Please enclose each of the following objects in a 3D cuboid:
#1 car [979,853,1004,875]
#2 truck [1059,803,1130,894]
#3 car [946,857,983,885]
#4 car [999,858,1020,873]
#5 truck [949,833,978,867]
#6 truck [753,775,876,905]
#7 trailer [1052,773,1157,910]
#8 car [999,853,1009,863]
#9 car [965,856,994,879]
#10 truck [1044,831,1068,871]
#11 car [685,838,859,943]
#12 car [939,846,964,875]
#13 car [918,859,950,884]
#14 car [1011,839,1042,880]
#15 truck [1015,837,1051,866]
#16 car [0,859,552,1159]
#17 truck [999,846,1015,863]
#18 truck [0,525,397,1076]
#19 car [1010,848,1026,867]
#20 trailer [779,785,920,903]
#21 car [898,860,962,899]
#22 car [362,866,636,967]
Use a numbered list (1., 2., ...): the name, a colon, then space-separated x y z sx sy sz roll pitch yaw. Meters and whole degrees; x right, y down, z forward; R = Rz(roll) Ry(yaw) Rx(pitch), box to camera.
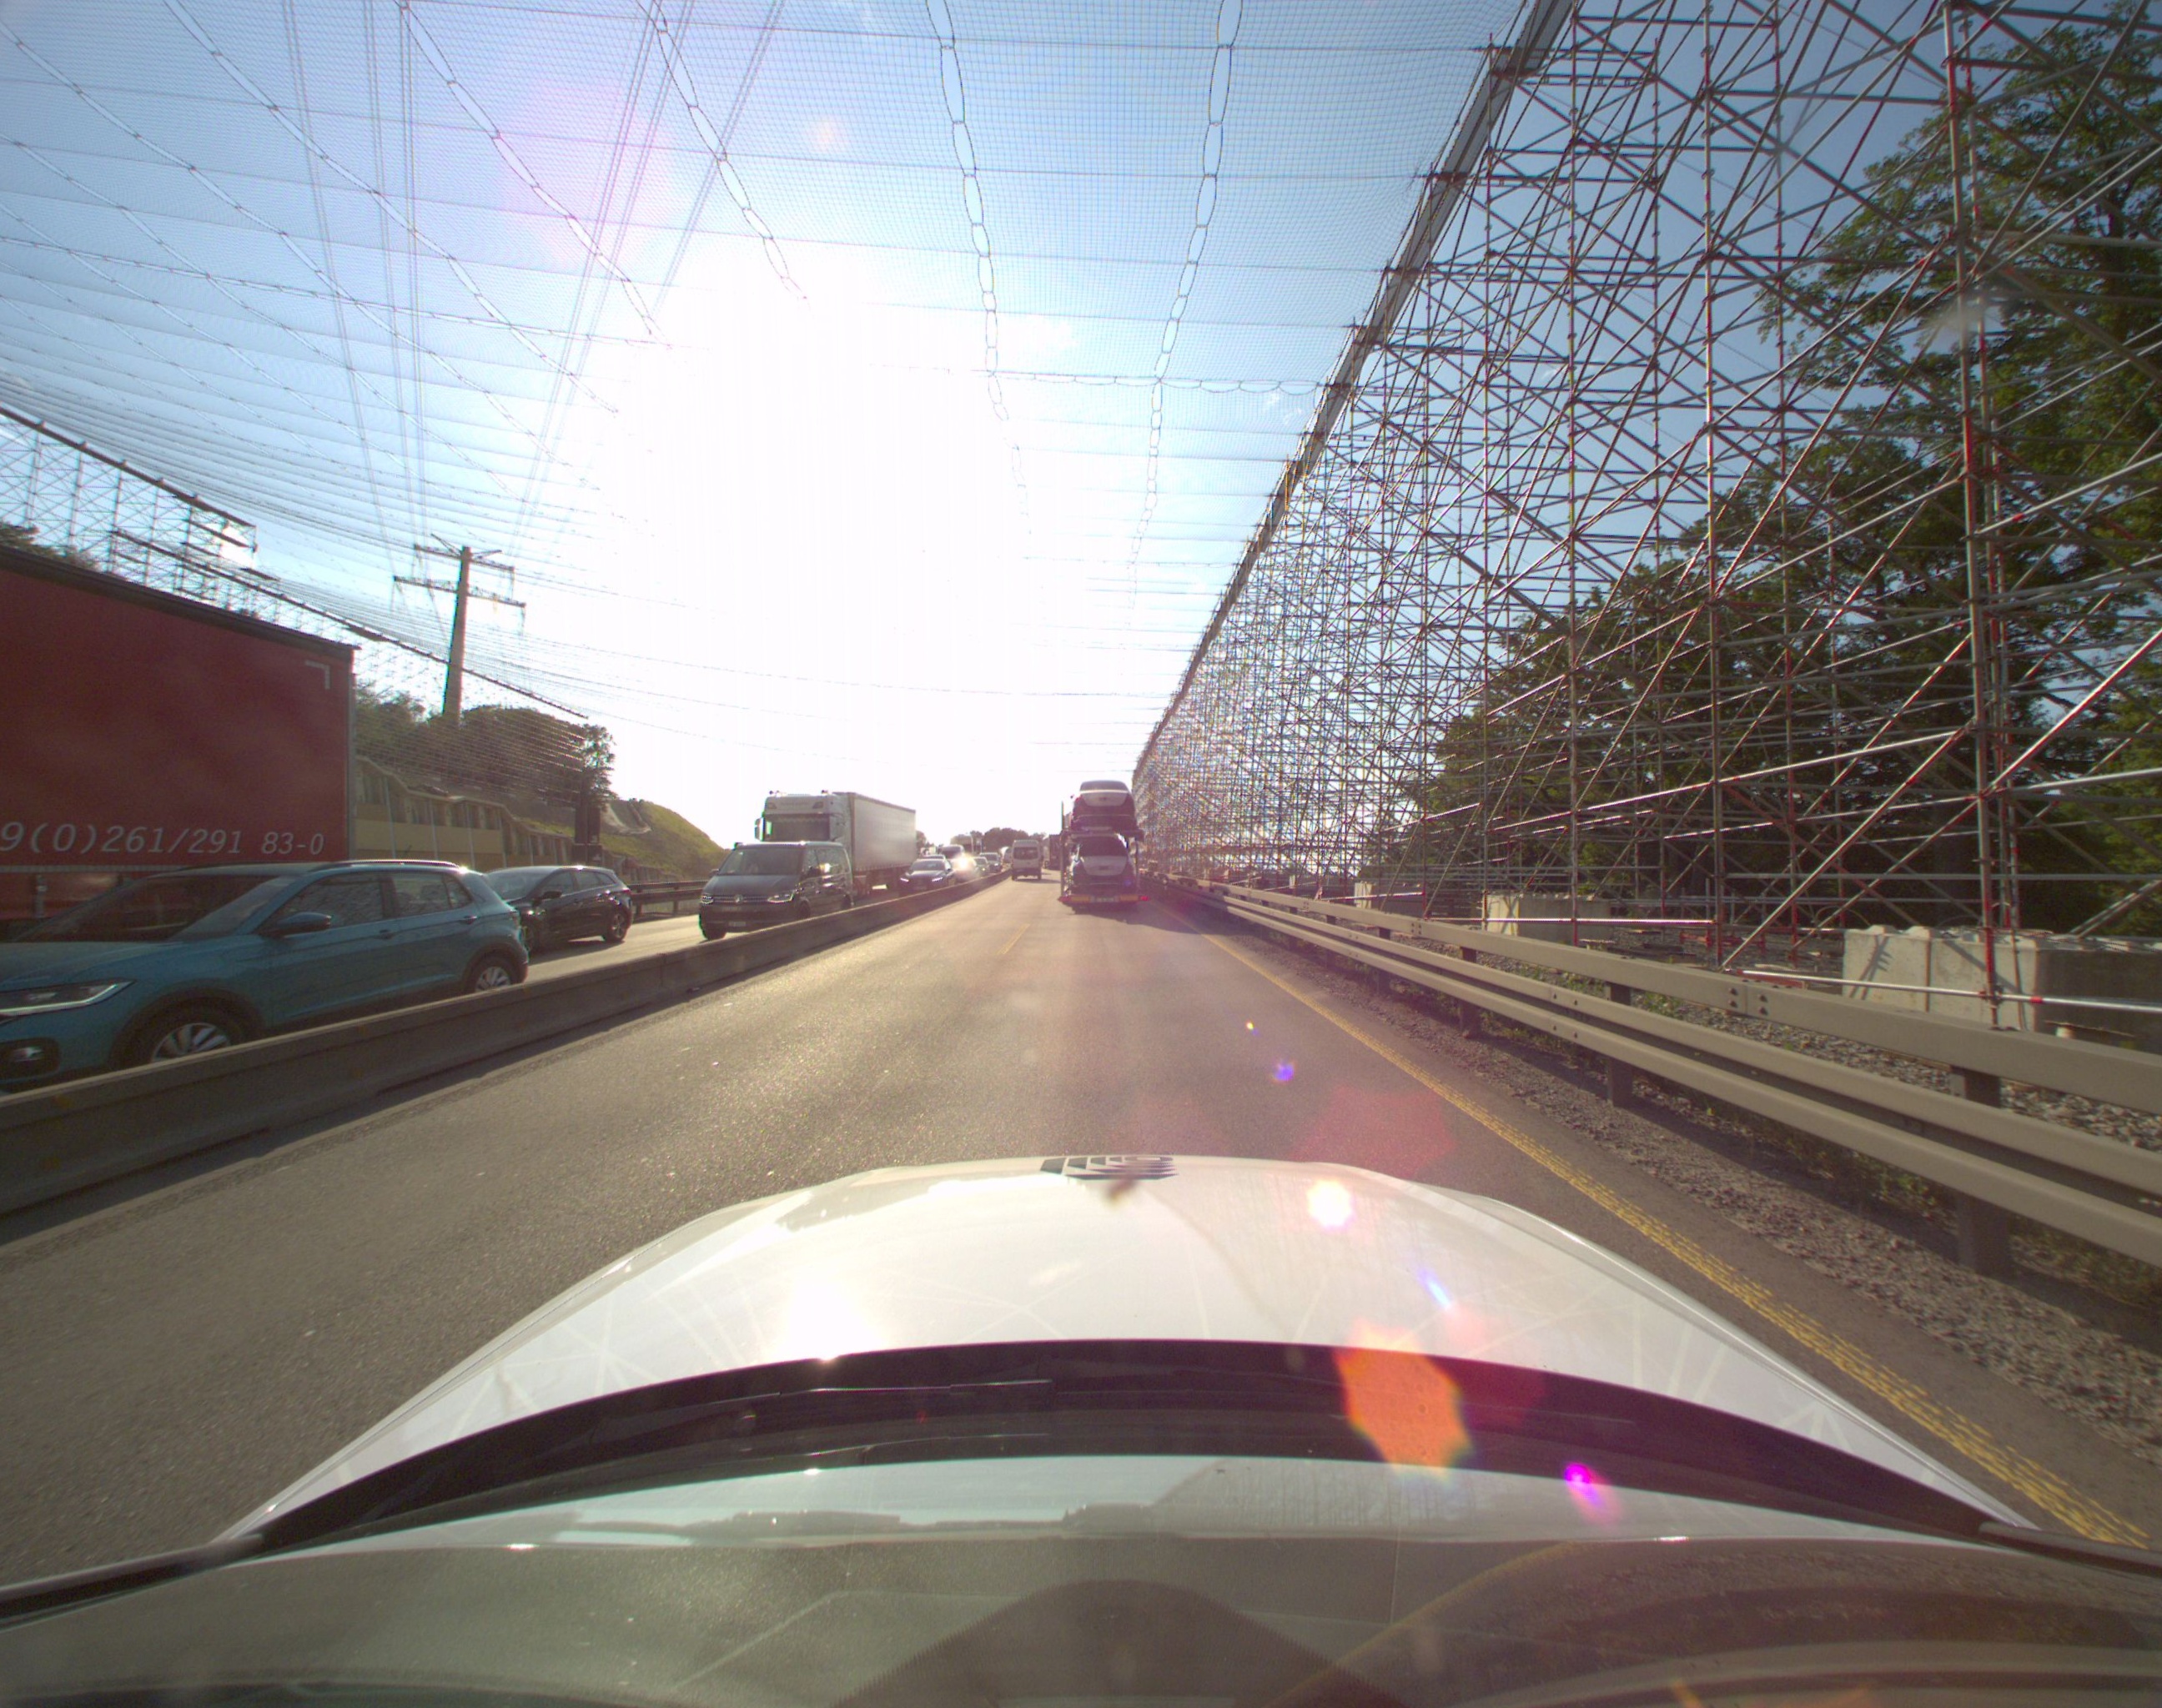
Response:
1. car: -7.748 0.836 70.811 1.831 1.893 3.998 0 0 -1
2. truck: 0.552 -0.190 37.416 2.873 3.702 7.323 -1 -1 0
3. car: -6.742 0.958 47.382 1.738 1.543 4.400 0 0 -3
4. car: -7.278 1.148 82.534 1.836 1.453 3.988 0 0 -8
5. truck: -12.636 -0.377 88.380 2.591 3.473 12.365 0 0 -6
6. truck: -9.453 -0.436 29.627 2.656 4.230 6.098 -1 -1 -3
7. trailer: 0.603 -0.251 29.946 2.860 3.725 14.941 -1 -1 0
8. car: -13.798 0.752 146.494 1.707 1.618 3.498 -1 -1 -3
9. car: -7.436 0.965 59.819 1.690 1.629 3.998 0 0 -1
10. truck: -2.913 -0.352 96.320 2.724 4.386 11.514 0 0 -1
11. car: -6.356 0.686 17.461 1.869 1.935 4.860 0 0 0
12. car: -11.744 0.586 73.996 1.991 2.541 3.990 0 0 -7
13. car: -10.379 1.231 57.670 1.675 1.684 3.996 0 0 -3
14. car: -3.644 0.404 54.922 1.952 2.621 3.996 -1 -1 -2
15. truck: -7.863 -0.317 131.262 3.690 4.221 13.611 -4 0 -12
16. car: -6.403 0.811 6.321 1.736 1.535 4.267 0 0 1
17. truck: -16.909 0.130 184.808 2.617 3.723 9.623 1 0 -11
18. truck: -9.493 -0.430 2.722 2.778 4.141 13.804 -1 -1 0
19. car: -8.852 0.511 114.377 1.992 2.578 3.990 0 0 -8
20. trailer: -9.710 -0.340 36.270 2.646 4.233 13.909 0 0 -2
21. car: -6.172 1.003 33.778 1.779 1.502 4.752 0 0 -1
22. car: -9.734 0.957 14.111 1.715 1.447 4.138 0 0 1
